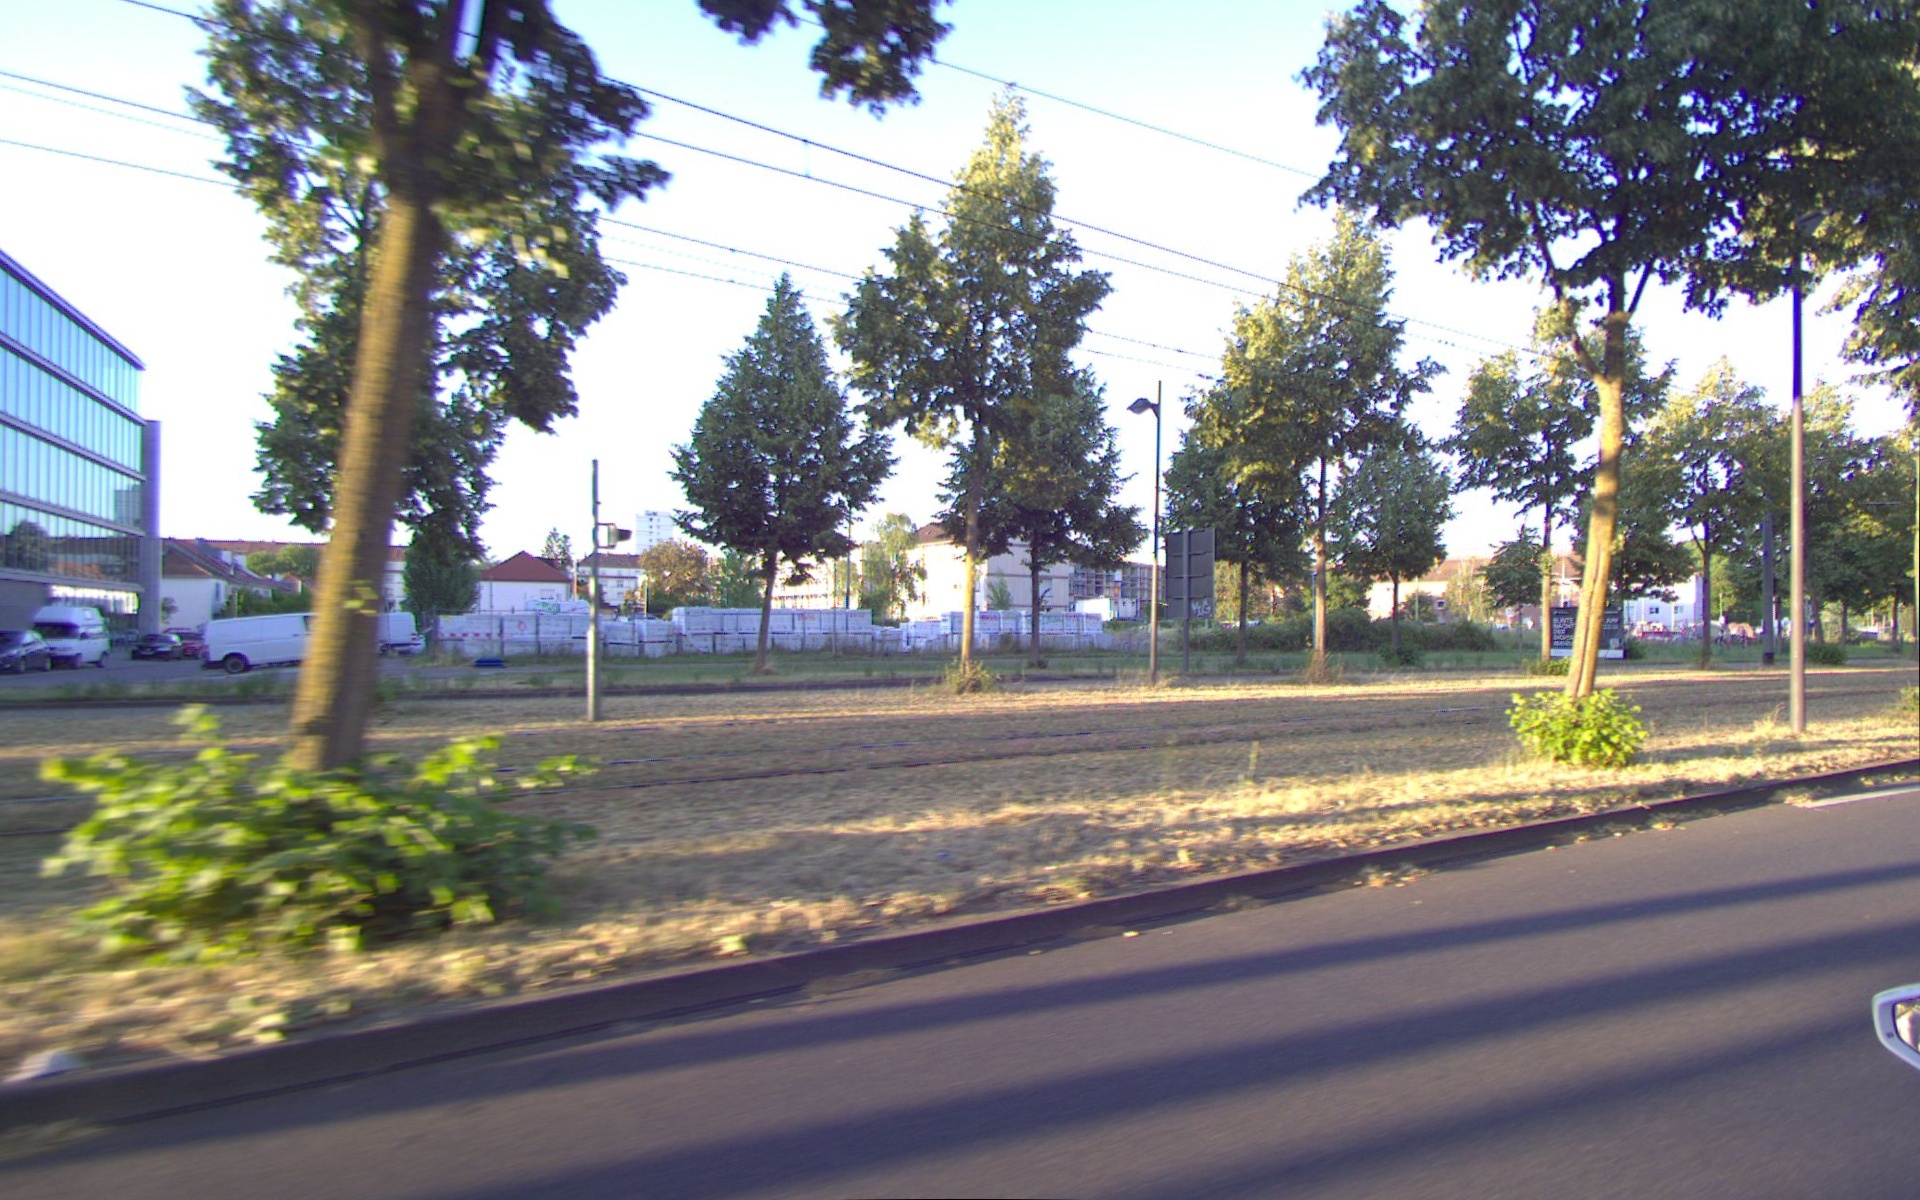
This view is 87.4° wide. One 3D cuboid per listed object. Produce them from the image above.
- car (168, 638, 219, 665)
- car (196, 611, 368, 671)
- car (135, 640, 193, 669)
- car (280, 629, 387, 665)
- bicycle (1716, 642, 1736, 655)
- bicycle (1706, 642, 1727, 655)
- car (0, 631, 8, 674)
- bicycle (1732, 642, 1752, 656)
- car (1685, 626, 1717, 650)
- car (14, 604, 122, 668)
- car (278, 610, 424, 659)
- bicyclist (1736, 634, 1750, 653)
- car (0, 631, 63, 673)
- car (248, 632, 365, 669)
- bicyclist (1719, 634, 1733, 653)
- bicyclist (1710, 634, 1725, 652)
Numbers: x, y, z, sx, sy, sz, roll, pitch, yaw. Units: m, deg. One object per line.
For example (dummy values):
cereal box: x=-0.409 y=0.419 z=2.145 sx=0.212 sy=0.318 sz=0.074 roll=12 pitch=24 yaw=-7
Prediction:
car: x=-45.352 y=3.025 z=59.515 sx=1.667 sy=1.465 sz=3.819 roll=1 pitch=-2 yaw=-27
car: x=-24.550 y=1.483 z=36.661 sx=5.025 sy=2.040 sz=2.196 roll=1 pitch=-2 yaw=-31
car: x=-42.661 y=2.885 z=53.899 sx=1.667 sy=1.465 sz=3.819 roll=1 pitch=-2 yaw=-27
car: x=-27.845 y=2.080 z=44.777 sx=3.954 sy=1.530 sz=1.984 roll=1 pitch=-2 yaw=-31
bicycle: x=60.394 y=3.813 z=79.221 sx=2.061 sy=1.024 sz=0.615 roll=2 pitch=-2 yaw=-33
bicycle: x=58.660 y=3.758 z=77.872 sx=2.061 sy=1.024 sz=0.615 roll=2 pitch=-2 yaw=-33
car: x=-32.863 y=1.729 z=32.537 sx=1.870 sy=1.465 sz=3.972 roll=1 pitch=-2 yaw=-27
bicycle: x=61.198 y=3.846 z=78.605 sx=2.061 sy=1.024 sz=0.615 roll=2 pitch=-2 yaw=-33
car: x=71.707 y=3.685 z=97.266 sx=2.383 sy=2.254 sz=5.899 roll=0 pitch=-2 yaw=35
car: x=-37.522 y=1.495 z=42.412 sx=1.947 sy=2.500 sz=5.464 roll=1 pitch=-2 yaw=-26
car: x=-36.110 y=2.042 z=59.793 sx=7.228 sy=2.802 sz=2.455 roll=1 pitch=-2 yaw=-32
bicyclist: x=61.360 y=3.433 z=78.708 sx=0.927 sy=1.475 sz=0.615 roll=1 pitch=-1 yaw=-33
car: x=-34.994 y=1.873 z=37.010 sx=1.870 sy=1.465 sz=3.973 roll=1 pitch=-2 yaw=-26
car: x=-26.985 y=2.058 z=41.659 sx=3.954 sy=1.437 sz=1.984 roll=1 pitch=-2 yaw=-31
bicyclist: x=60.457 y=3.456 z=79.260 sx=0.927 sy=1.475 sz=0.615 roll=1 pitch=-1 yaw=-33
bicyclist: x=58.772 y=3.335 z=77.931 sx=0.927 sy=1.440 sz=0.615 roll=1 pitch=-1 yaw=-33
